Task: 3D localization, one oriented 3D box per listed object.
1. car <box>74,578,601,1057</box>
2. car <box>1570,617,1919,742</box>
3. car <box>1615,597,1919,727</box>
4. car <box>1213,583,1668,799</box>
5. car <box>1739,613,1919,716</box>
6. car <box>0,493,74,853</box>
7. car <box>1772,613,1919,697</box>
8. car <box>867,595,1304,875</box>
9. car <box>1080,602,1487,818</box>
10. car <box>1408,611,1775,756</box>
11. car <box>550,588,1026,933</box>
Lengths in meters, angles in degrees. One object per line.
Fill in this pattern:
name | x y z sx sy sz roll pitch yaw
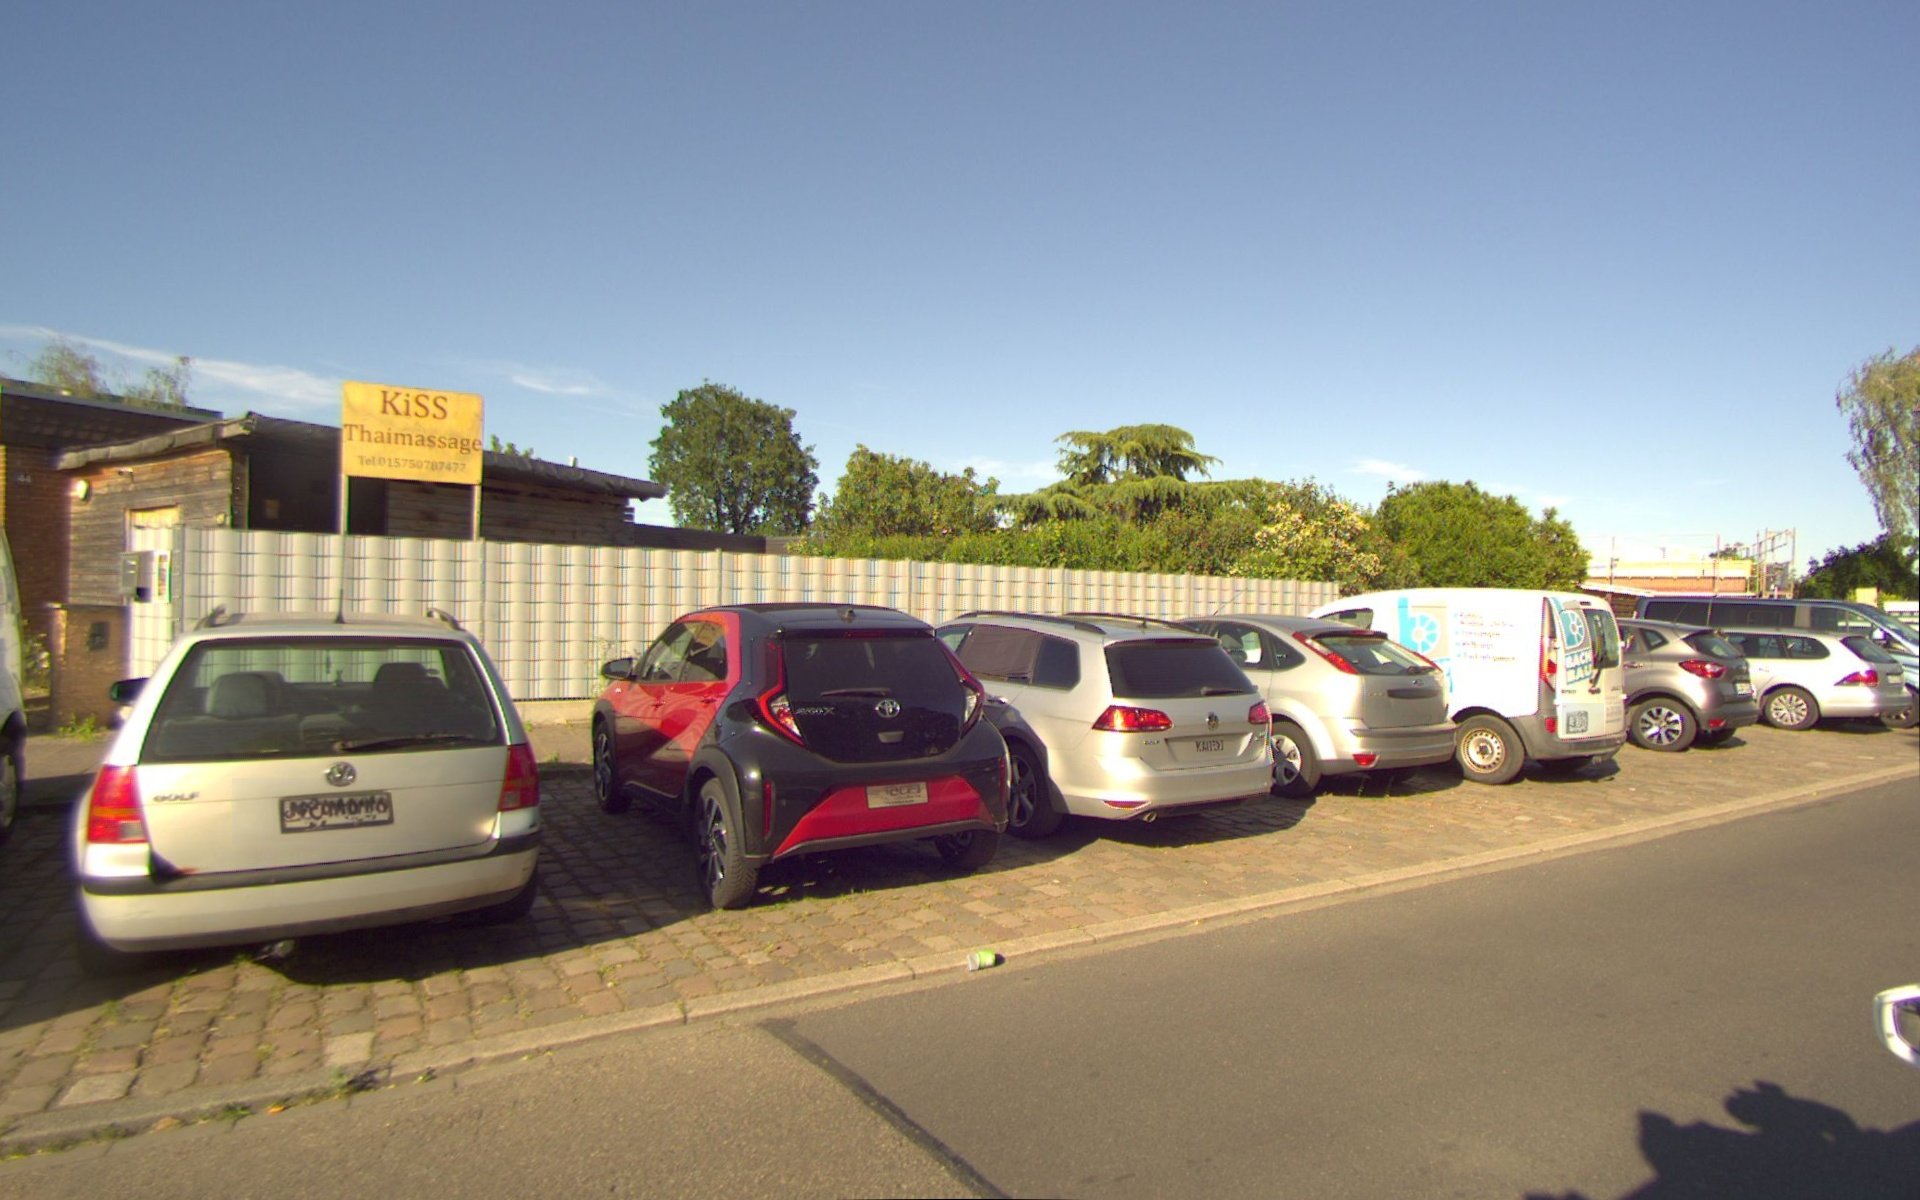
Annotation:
car | -3.171 0.702 5.160 1.620 1.465 3.490 2 1 -35
car | 12.463 1.156 16.121 1.904 1.512 4.114 2 1 -32
car | 14.535 0.985 17.474 1.980 1.941 4.839 2 0 -35
car | 4.895 0.765 10.761 1.905 1.804 3.952 1 1 -34
car | 16.938 1.184 18.560 1.713 1.628 3.593 2 1 -31
car | -5.556 0.404 4.111 2.059 1.946 4.762 3 1 -32
car | 20.863 1.247 22.330 1.798 1.633 3.966 2 1 -31
car | 0.716 0.799 7.783 1.616 1.509 3.499 1 2 -28
car | 2.865 0.854 9.640 1.706 1.509 3.499 1 2 -28
car | 8.349 0.999 13.572 1.772 1.553 3.787 2 0 -36
car | -1.336 0.732 6.540 1.622 1.509 3.487 0 2 -37
